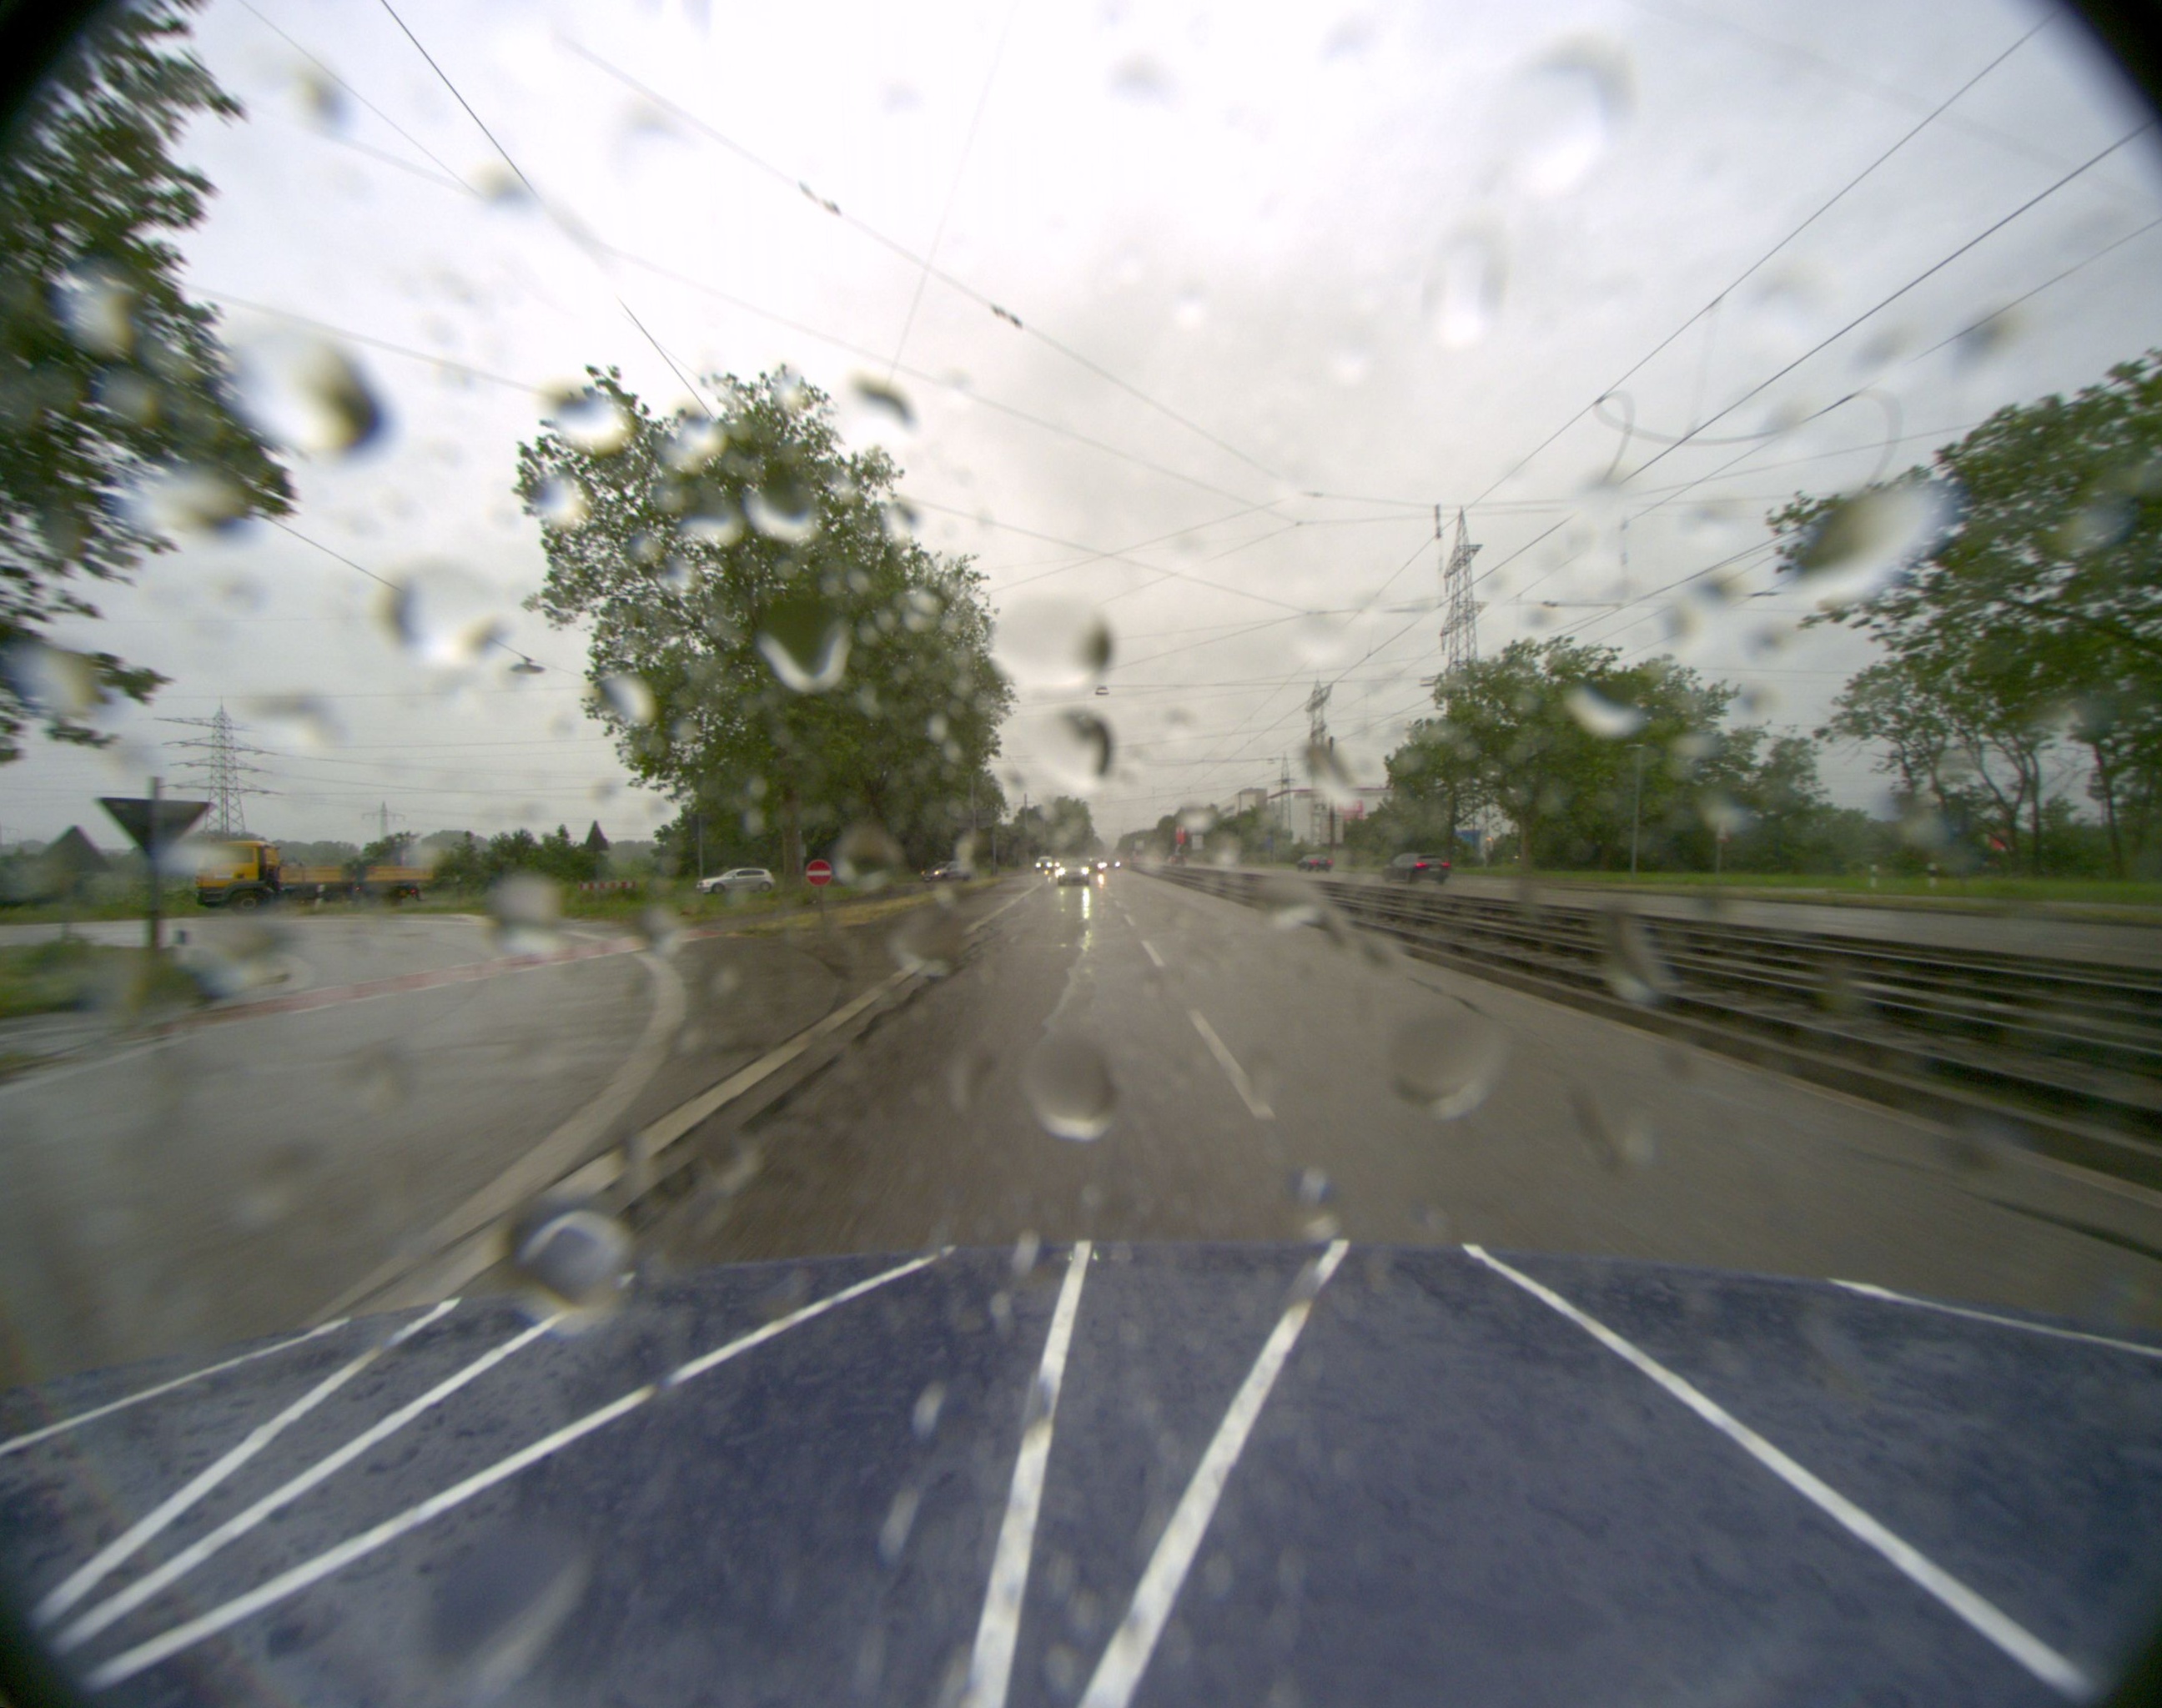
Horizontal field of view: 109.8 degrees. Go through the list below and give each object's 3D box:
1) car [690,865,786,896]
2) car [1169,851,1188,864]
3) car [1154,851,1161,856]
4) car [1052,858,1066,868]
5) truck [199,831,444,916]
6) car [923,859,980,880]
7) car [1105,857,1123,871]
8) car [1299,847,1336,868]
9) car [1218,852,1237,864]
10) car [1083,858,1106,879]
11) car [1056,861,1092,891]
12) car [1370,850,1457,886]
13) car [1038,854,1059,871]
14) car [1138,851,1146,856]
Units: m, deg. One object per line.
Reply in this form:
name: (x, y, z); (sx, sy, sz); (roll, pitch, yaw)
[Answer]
car: (-19.387, 1.478, 43.086); (4.615, 1.494, 1.627); (-2, -1, -45)
car: (13.933, 0.508, 109.024); (1.892, 1.798, 5.004); (-2, -1, -1)
car: (21.375, -0.173, 212.394); (1.998, 1.455, 5.253); (1, -1, 4)
car: (-3.216, 1.354, 113.792); (1.783, 1.419, 4.001); (-2, -1, 2)
truck: (-32.015, 0.746, 32.515); (6.944, 3.238, 2.558); (-2, -1, -33)
car: (-9.391, 1.130, 55.402); (1.889, 1.349, 4.284); (-3, -1, 26)
car: (3.632, 1.098, 84.664); (1.807, 1.521, 3.645); (-2, -1, 0)
car: (20.228, 0.300, 65.218); (1.845, 1.676, 4.651); (-2, -1, 3)
car: (19.713, 0.505, 102.283); (1.693, 1.542, 4.000); (-2, -1, 0)
car: (1.150, 1.207, 64.115); (1.815, 1.692, 4.001); (-2, -1, 2)
car: (-0.372, 1.177, 41.962); (1.807, 1.521, 3.645); (-2, -1, 0)
car: (16.188, 0.675, 37.343); (1.795, 1.540, 5.313); (-2, -1, -1)
car: (-3.349, 0.861, 79.264); (1.797, 1.692, 4.764); (-2, -1, 2)
car: (19.461, -0.078, 242.248); (1.829, 1.625, 5.137); (-2, -1, 0)
